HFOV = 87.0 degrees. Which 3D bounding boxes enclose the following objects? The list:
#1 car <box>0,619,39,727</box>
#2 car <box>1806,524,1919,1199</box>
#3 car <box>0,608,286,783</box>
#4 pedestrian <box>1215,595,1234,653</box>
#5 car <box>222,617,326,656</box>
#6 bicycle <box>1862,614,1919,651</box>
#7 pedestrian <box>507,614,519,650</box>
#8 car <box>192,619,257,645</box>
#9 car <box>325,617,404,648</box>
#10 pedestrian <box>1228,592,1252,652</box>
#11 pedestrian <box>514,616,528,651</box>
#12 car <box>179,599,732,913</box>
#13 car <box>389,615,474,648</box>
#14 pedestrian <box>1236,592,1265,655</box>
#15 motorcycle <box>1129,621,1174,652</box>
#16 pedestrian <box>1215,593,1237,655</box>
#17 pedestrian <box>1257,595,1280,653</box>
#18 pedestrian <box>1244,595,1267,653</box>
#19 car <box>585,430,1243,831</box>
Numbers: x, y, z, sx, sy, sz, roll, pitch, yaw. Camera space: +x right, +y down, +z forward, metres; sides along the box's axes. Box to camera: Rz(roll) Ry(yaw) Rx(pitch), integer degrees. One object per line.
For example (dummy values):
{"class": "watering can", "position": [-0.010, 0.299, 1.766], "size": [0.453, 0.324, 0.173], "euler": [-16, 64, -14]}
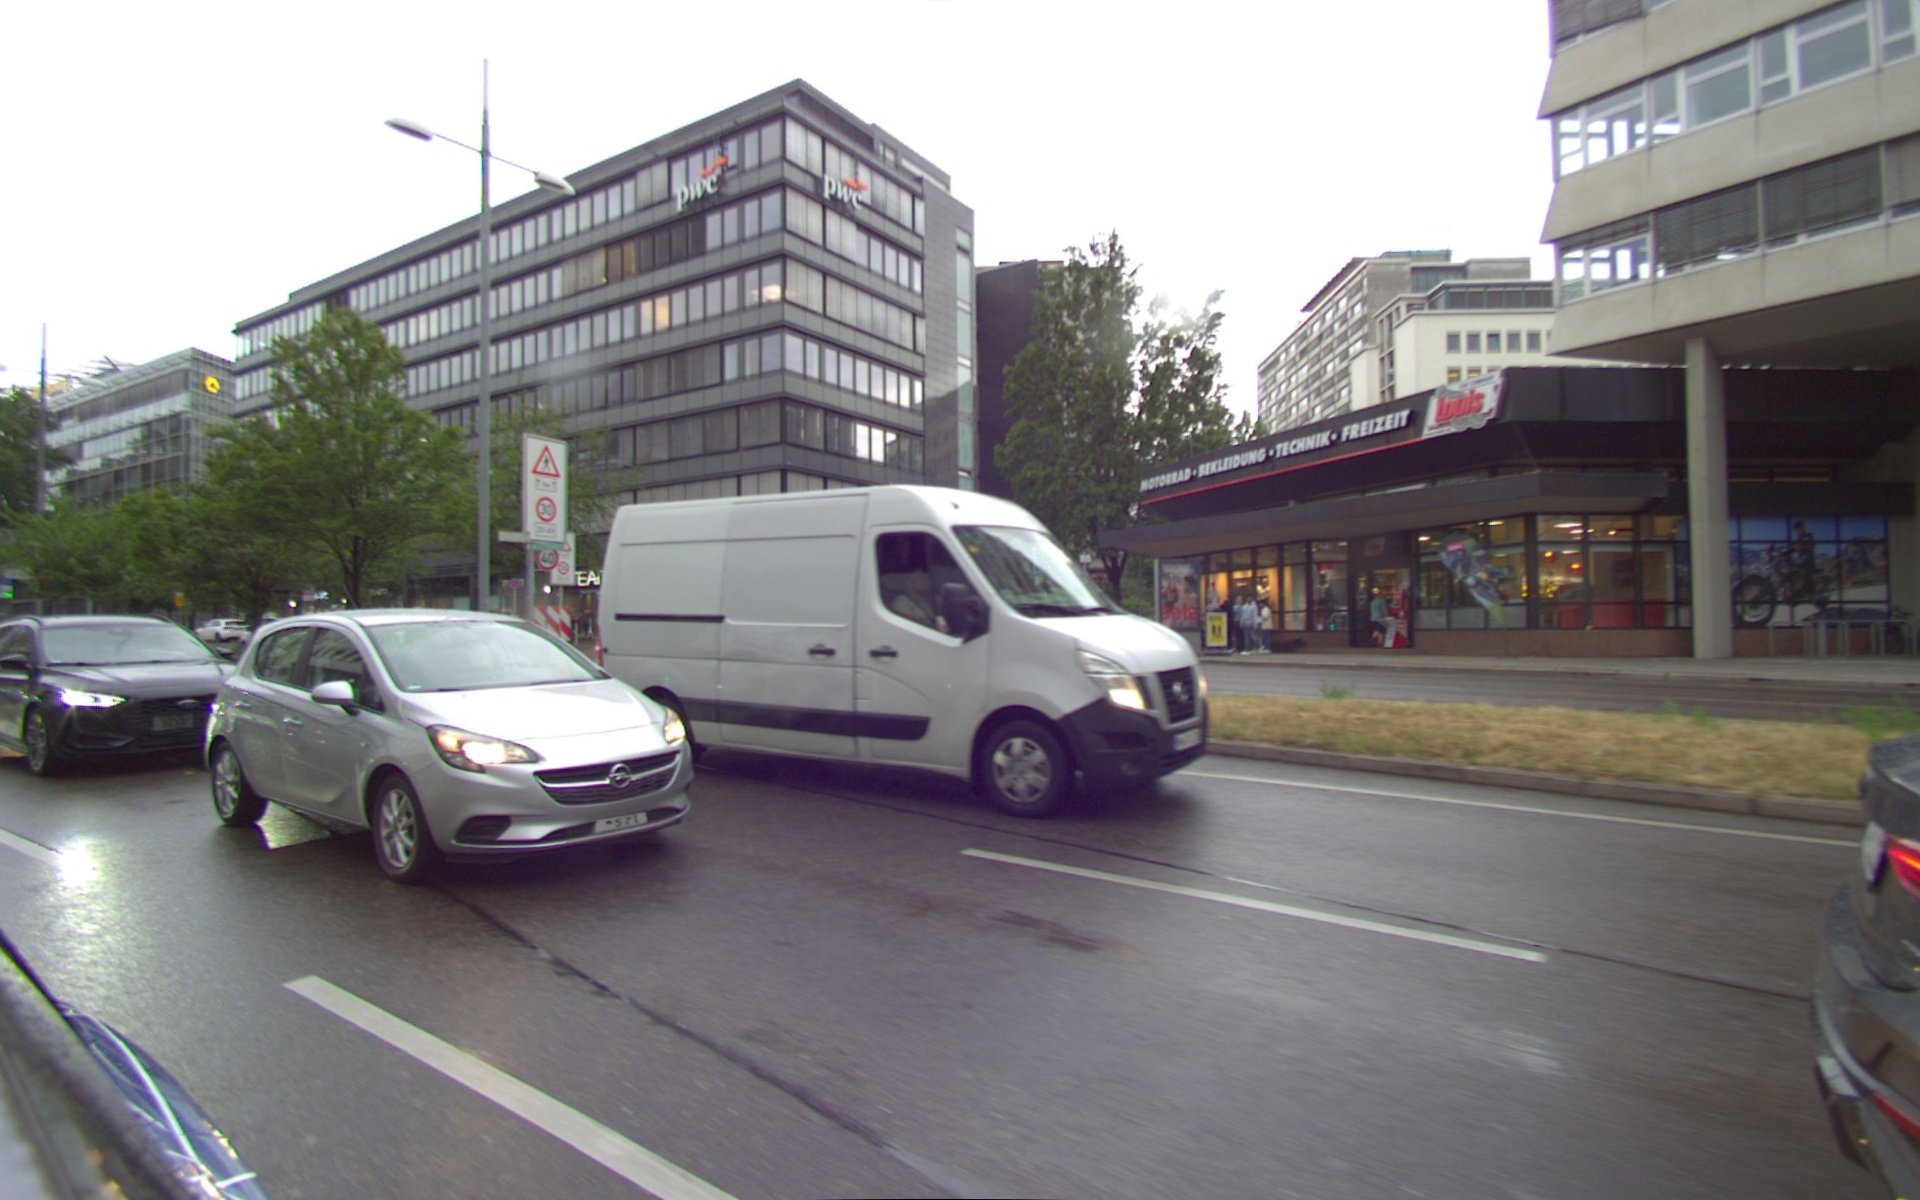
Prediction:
{"class": "car", "position": [-14.441, 0.994, 13.996], "size": [4.087, 1.391, 1.756], "euler": [-1, 0, 36]}
{"class": "car", "position": [3.440, 0.614, 0.761], "size": [4.268, 1.533, 1.631], "euler": [-1, 0, 41]}
{"class": "car", "position": [-8.812, 0.843, 10.359], "size": [4.083, 1.446, 1.757], "euler": [-1, 0, 34]}
{"class": "pedestrian", "position": [8.289, 0.751, 31.686], "size": [0.323, 1.784, 0.438], "euler": [0, -1, -34]}
{"class": "car", "position": [-26.512, 1.395, 39.111], "size": [3.982, 1.383, 1.734], "euler": [-1, -1, 29]}
{"class": "bicycle", "position": [22.923, 0.780, 24.046], "size": [2.188, 0.866, 0.454], "euler": [0, 0, 38]}
{"class": "pedestrian", "position": [-25.684, 1.831, 58.122], "size": [0.296, 2.029, 0.535], "euler": [-1, -1, 32]}
{"class": "car", "position": [-45.022, 1.929, 61.956], "size": [3.988, 1.518, 1.978], "euler": [-1, -1, 33]}
{"class": "car", "position": [-31.166, 1.695, 52.910], "size": [4.095, 1.518, 1.978], "euler": [-1, -1, 33]}
{"class": "pedestrian", "position": [8.423, 0.665, 30.493], "size": [0.547, 1.784, 0.406], "euler": [0, -1, -33]}
{"class": "pedestrian", "position": [-26.000, 1.993, 59.901], "size": [0.460, 2.029, 0.569], "euler": [-1, -1, 32]}
{"class": "car", "position": [-3.396, 0.759, 6.536], "size": [3.868, 1.446, 1.633], "euler": [-1, 0, 37]}
{"class": "car", "position": [-25.776, 1.547, 49.356], "size": [3.988, 1.518, 1.978], "euler": [-1, -1, 33]}
{"class": "pedestrian", "position": [8.395, 0.670, 29.233], "size": [0.528, 1.784, 0.551], "euler": [0, -1, -33]}
{"class": "motorcycle", "position": [7.238, 1.371, 38.236], "size": [1.599, 1.153, 0.361], "euler": [-1, -1, -11]}
{"class": "pedestrian", "position": [7.621, 0.683, 29.005], "size": [0.356, 1.784, 0.463], "euler": [0, -1, -33]}
{"class": "pedestrian", "position": [9.618, 0.736, 31.552], "size": [0.421, 1.784, 0.471], "euler": [0, -1, -33]}
{"class": "pedestrian", "position": [9.076, 0.735, 31.077], "size": [0.421, 1.784, 0.471], "euler": [0, -1, -33]}
{"class": "car", "position": [-0.628, 0.229, 8.540], "size": [5.465, 2.459, 1.930], "euler": [-1, 0, 34]}
